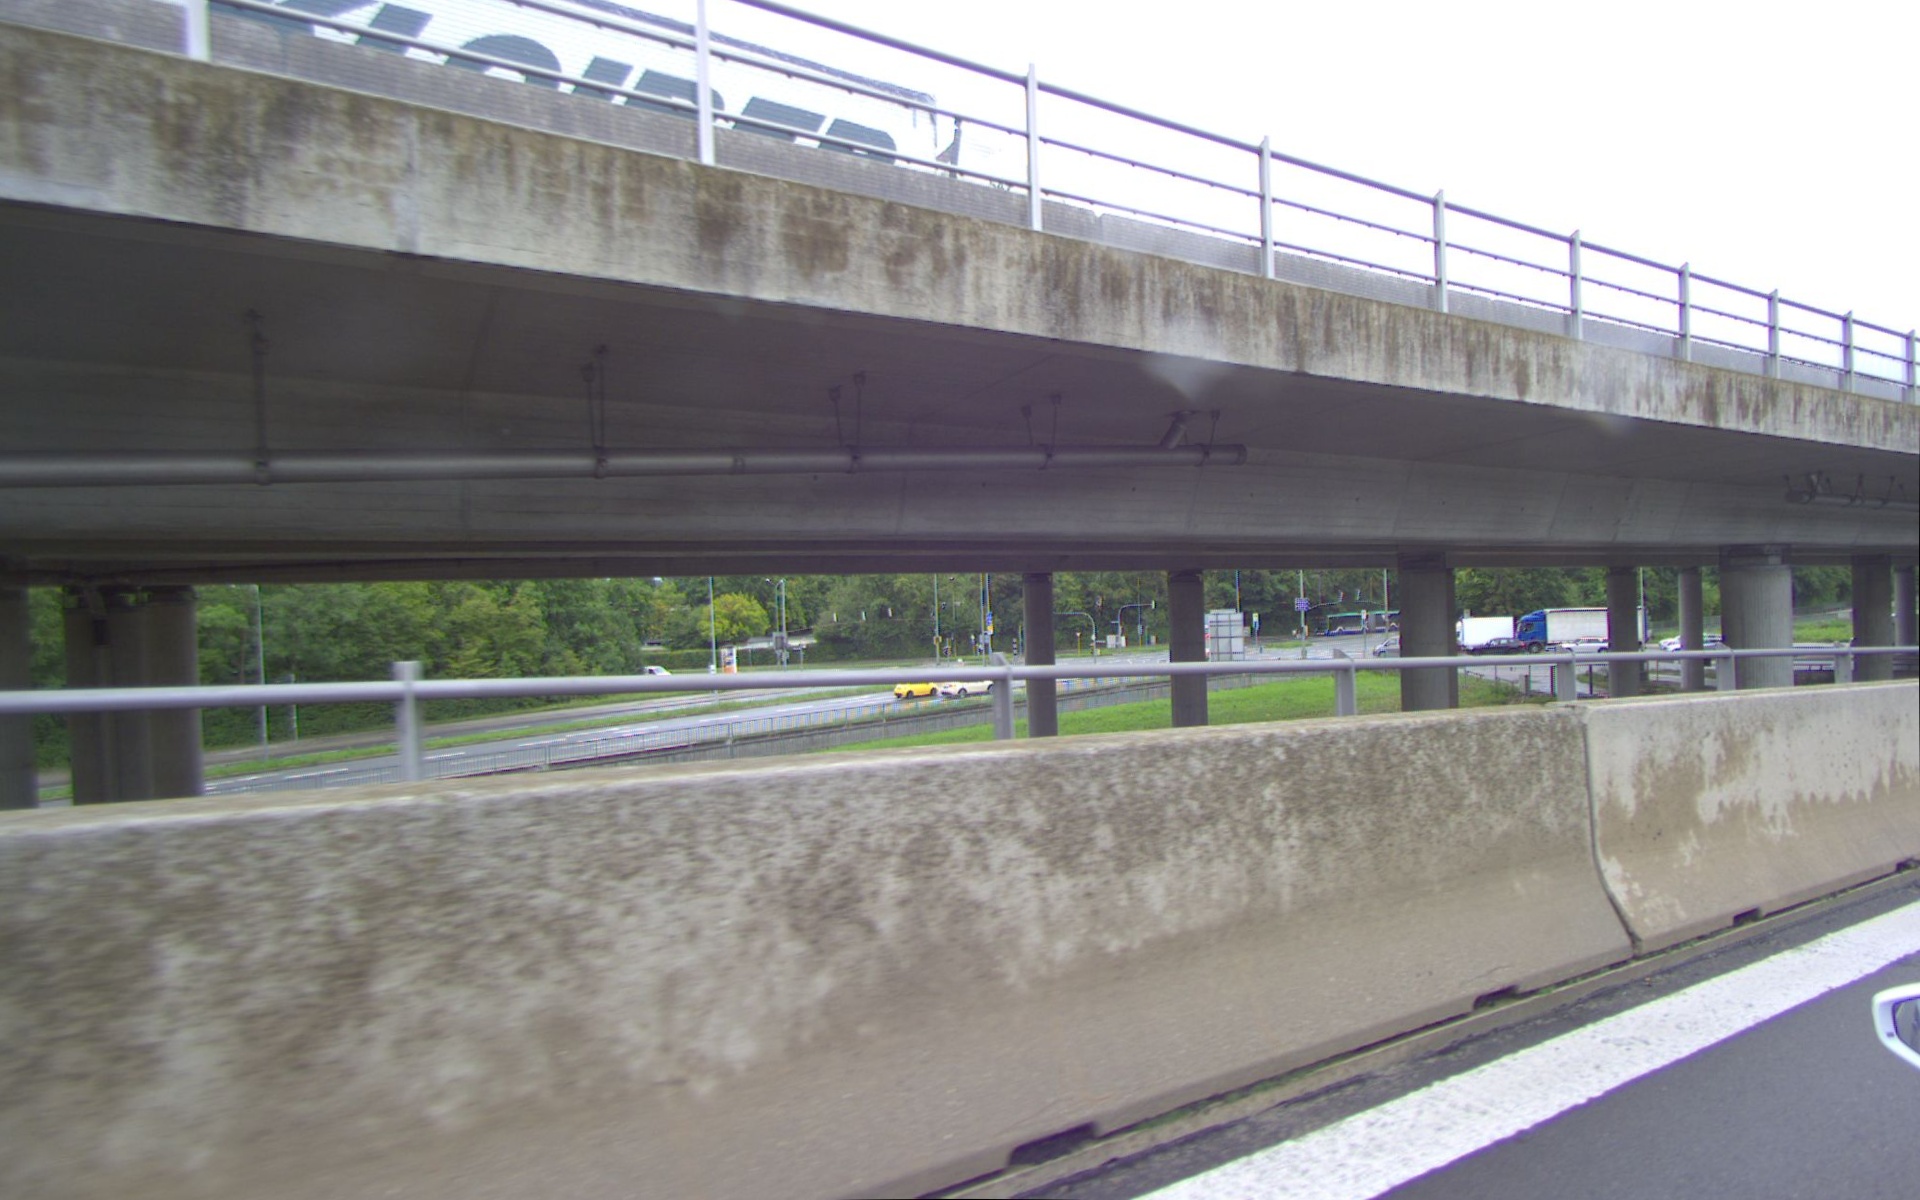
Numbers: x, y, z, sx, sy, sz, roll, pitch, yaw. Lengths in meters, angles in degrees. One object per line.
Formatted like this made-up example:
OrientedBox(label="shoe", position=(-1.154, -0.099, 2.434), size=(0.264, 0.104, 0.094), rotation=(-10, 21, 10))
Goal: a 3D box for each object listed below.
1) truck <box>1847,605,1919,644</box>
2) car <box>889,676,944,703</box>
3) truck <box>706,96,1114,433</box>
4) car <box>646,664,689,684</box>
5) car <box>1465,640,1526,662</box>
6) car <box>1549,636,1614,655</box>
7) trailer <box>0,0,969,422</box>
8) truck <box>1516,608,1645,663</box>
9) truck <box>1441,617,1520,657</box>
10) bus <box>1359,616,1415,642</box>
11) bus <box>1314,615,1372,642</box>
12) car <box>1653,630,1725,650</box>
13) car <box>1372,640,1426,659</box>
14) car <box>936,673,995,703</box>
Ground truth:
OrientedBox(label="truck", position=(74.577, 1.920, 78.823), size=(7.099, 3.016, 2.258), rotation=(0, -1, 27))
OrientedBox(label="car", position=(-3.374, 6.925, 78.378), size=(3.964, 1.640, 1.829), rotation=(-1, 3, -38))
OrientedBox(label="truck", position=(-0.648, -4.332, 14.223), size=(5.135, 3.290, 2.575), rotation=(-2, 2, -32))
OrientedBox(label="car", position=(-32.909, 8.280, 113.093), size=(4.471, 2.040, 1.999), rotation=(0, -1, 25))
OrientedBox(label="car", position=(47.191, 4.485, 88.616), size=(4.503, 1.604, 1.974), rotation=(3, 0, 24))
OrientedBox(label="car", position=(53.176, 3.876, 86.017), size=(4.503, 1.604, 1.974), rotation=(-1, -2, 24))
OrientedBox(label="trailer", position=(-6.461, -4.254, 10.589), size=(13.902, 3.342, 2.643), rotation=(-1, 1, -32))
OrientedBox(label="truck", position=(54.567, 3.144, 88.705), size=(9.423, 4.652, 2.796), rotation=(-1, -1, 26))
OrientedBox(label="truck", position=(49.297, 3.492, 95.292), size=(6.520, 3.728, 2.796), rotation=(-1, -1, 26))
OrientedBox(label="bus", position=(63.249, 4.337, 148.692), size=(9.796, 3.750, 2.213), rotation=(1, 0, -31))
OrientedBox(label="bus", position=(54.805, 4.128, 143.658), size=(9.800, 3.750, 2.212), rotation=(1, 0, -32))
OrientedBox(label="car", position=(60.111, 3.298, 82.909), size=(4.503, 1.604, 1.974), rotation=(-1, -2, 24))
OrientedBox(label="car", position=(40.307, 4.540, 92.344), size=(4.503, 1.627, 1.974), rotation=(-1, -1, 24))
OrientedBox(label="car", position=(0.452, 6.728, 76.919), size=(4.326, 1.773, 1.790), rotation=(-1, 3, -38))
